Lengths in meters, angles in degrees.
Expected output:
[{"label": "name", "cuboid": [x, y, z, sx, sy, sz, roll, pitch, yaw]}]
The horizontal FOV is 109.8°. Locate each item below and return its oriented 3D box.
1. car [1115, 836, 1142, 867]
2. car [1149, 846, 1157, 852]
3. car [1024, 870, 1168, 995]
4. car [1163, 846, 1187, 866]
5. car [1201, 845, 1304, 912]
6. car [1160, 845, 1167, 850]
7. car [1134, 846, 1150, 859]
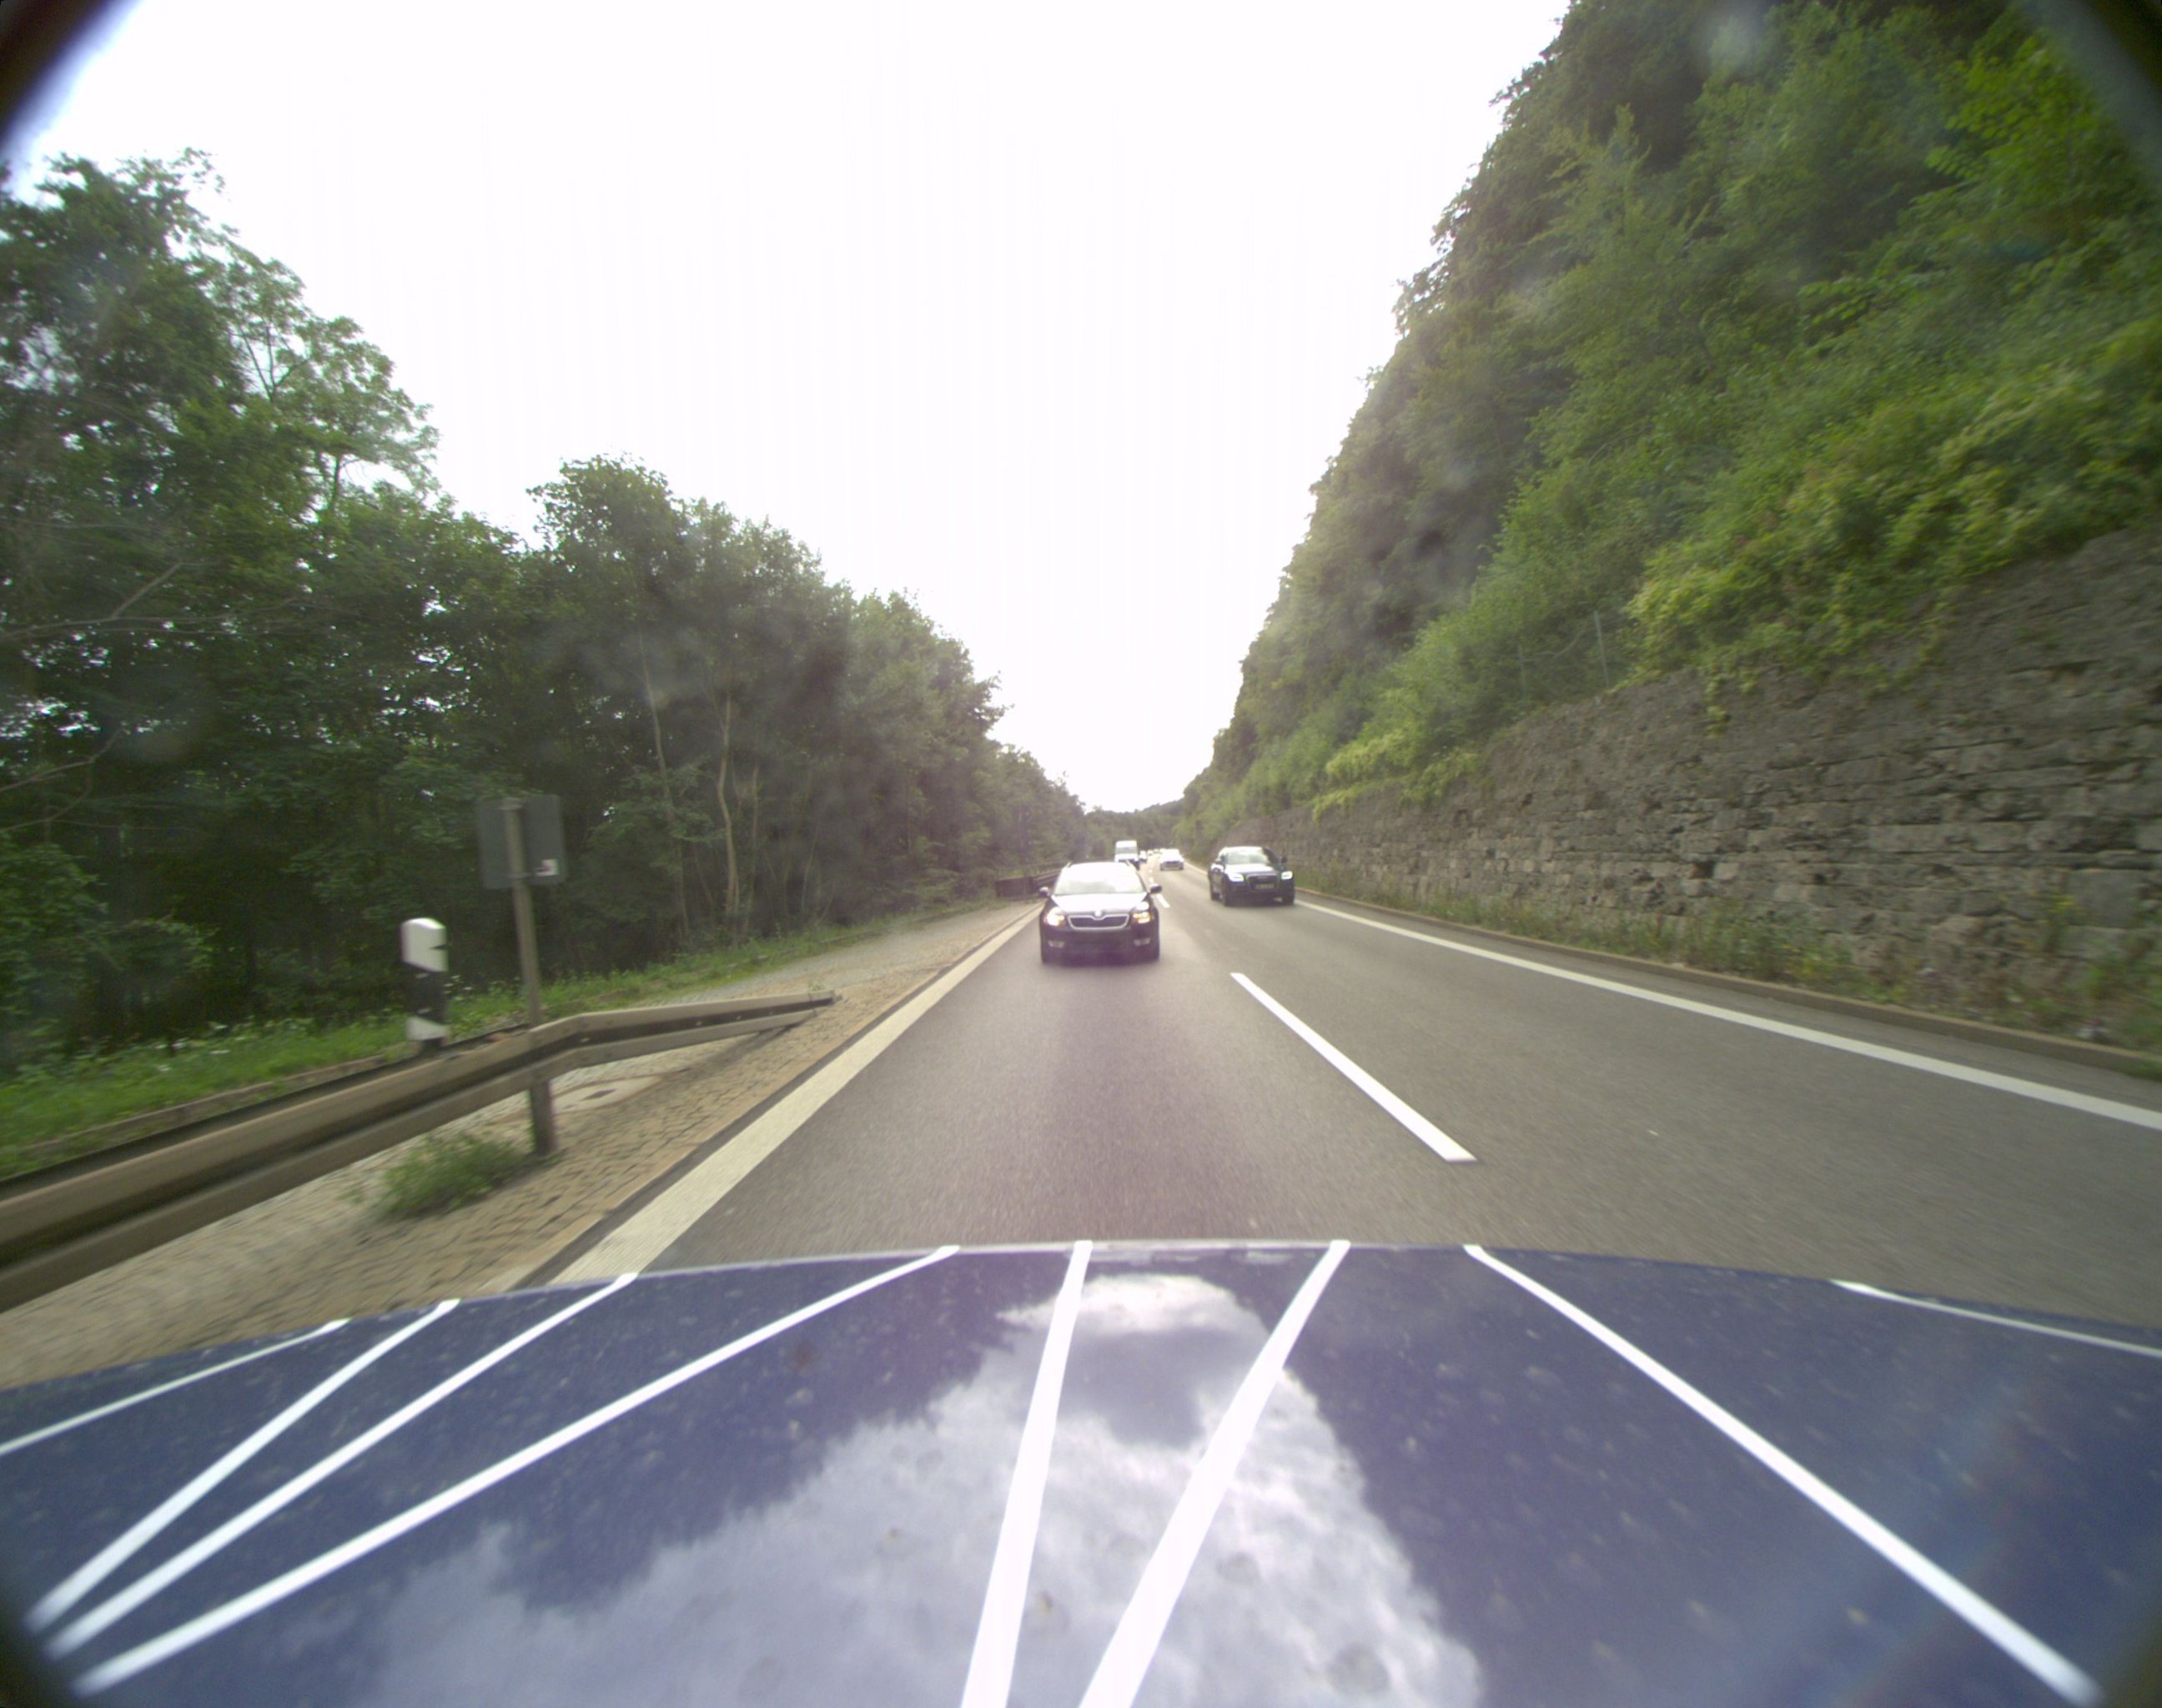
[{"label": "car", "cuboid": [4.215, -0.186, 66.901, 2.098, 2.547, 5.922, -1, -1, 5]}, {"label": "car", "cuboid": [20.097, -1.418, 212.096, 1.822, 1.546, 4.003, -1, -1, 8]}, {"label": "car", "cuboid": [0.260, 0.950, 10.993, 1.638, 1.384, 4.500, -1, -1, 2]}, {"label": "car", "cuboid": [7.524, 0.157, 61.042, 1.822, 1.546, 4.003, -1, -1, 7]}, {"label": "car", "cuboid": [4.948, 0.609, 22.797, 1.976, 1.584, 5.585, -4, 1, 3]}, {"label": "car", "cuboid": [24.407, -1.944, 225.163, 1.822, 1.546, 4.003, -1, -1, 8]}, {"label": "car", "cuboid": [7.993, -0.216, 98.691, 1.822, 1.546, 4.003, -1, -1, 8]}]
